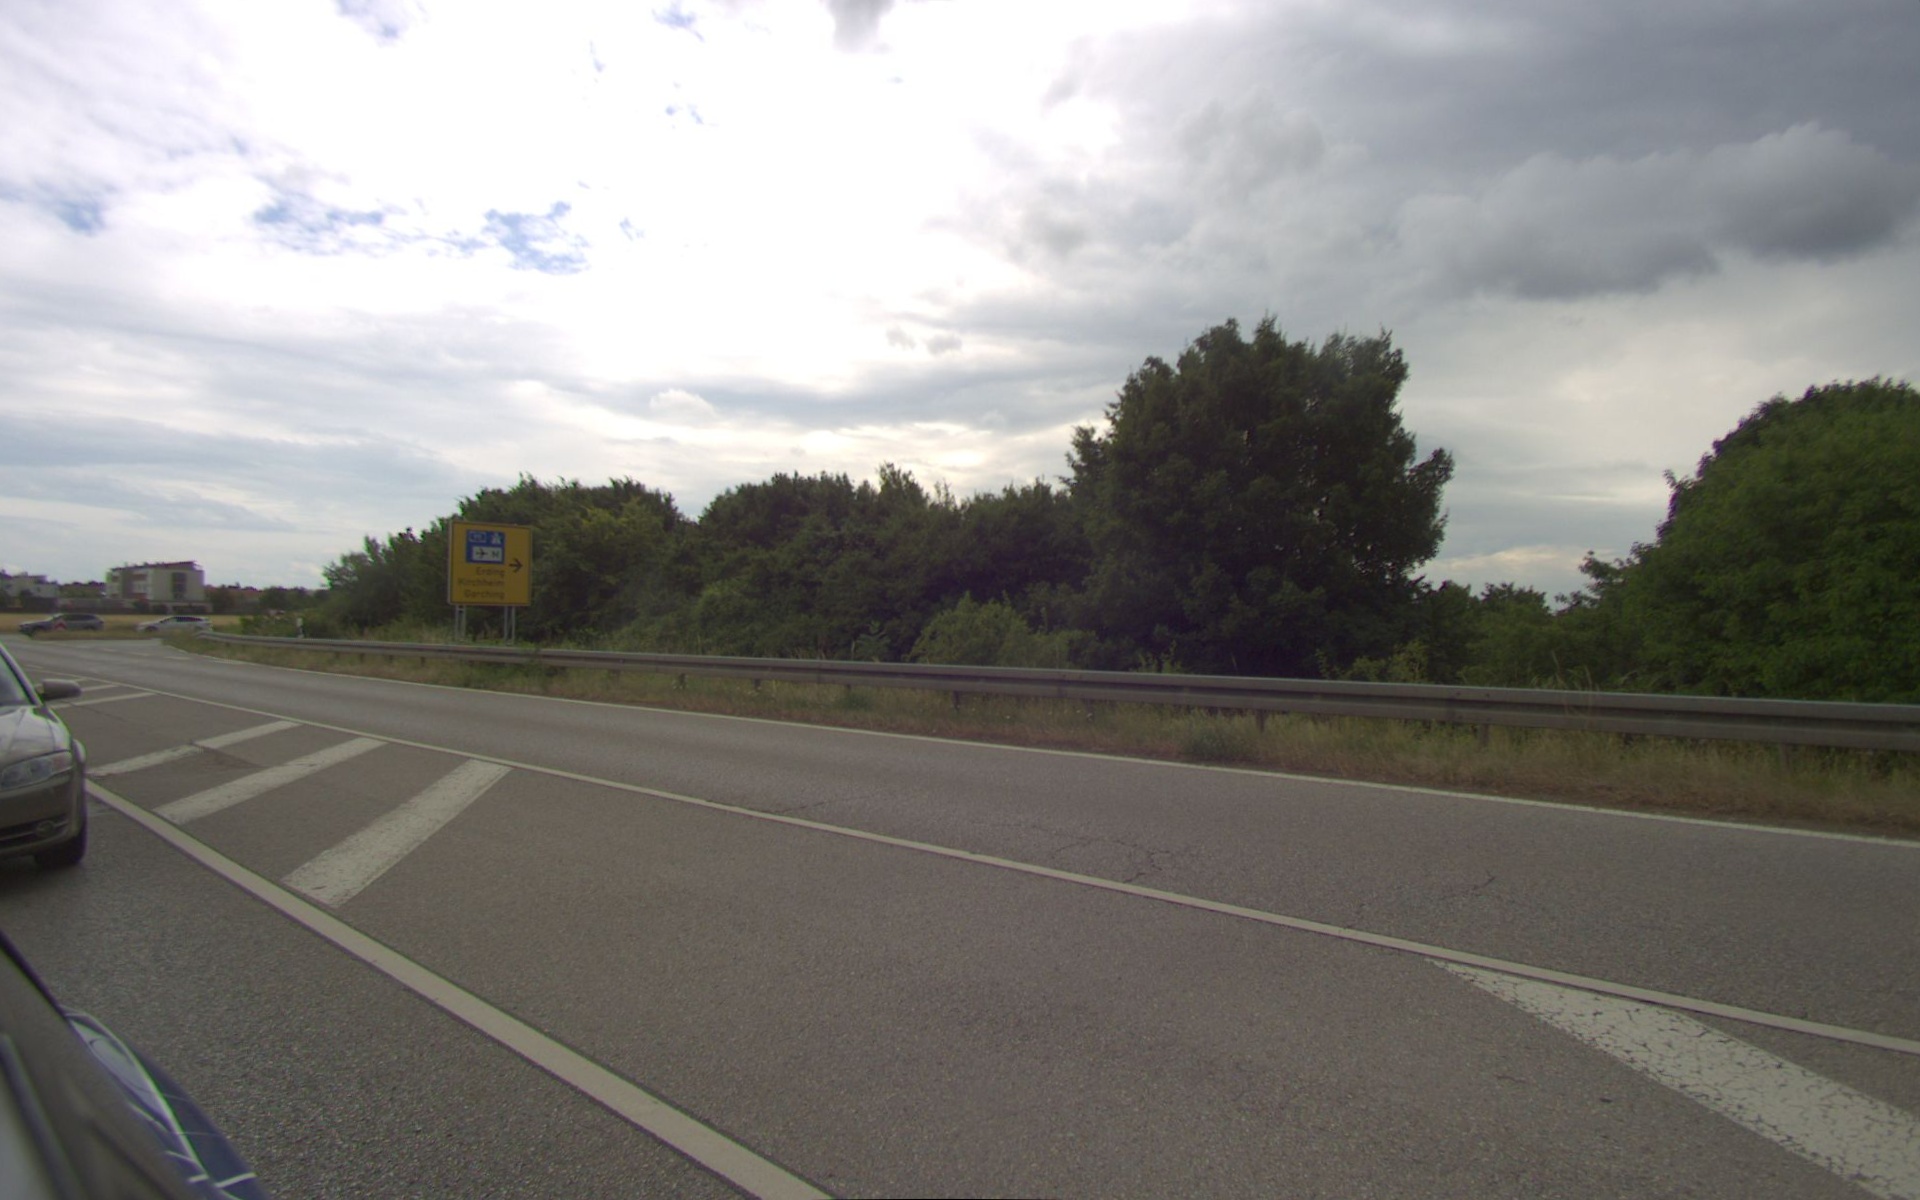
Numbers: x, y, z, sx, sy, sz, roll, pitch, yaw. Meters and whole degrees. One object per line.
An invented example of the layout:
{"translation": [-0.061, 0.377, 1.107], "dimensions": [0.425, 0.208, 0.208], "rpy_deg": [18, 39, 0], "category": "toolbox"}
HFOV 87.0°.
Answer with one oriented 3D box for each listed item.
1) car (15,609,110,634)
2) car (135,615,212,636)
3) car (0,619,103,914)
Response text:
{"translation": [-63.837, 1.514, 72.034], "dimensions": [1.997, 1.702, 4.757], "rpy_deg": [-1, -1, 37], "category": "car"}
{"translation": [-59.699, 1.921, 76.859], "dimensions": [4.605, 1.510, 2.003], "rpy_deg": [1, -1, -40], "category": "car"}
{"translation": [-6.639, 0.847, 6.024], "dimensions": [4.202, 1.455, 1.708], "rpy_deg": [-1, -1, 41], "category": "car"}
